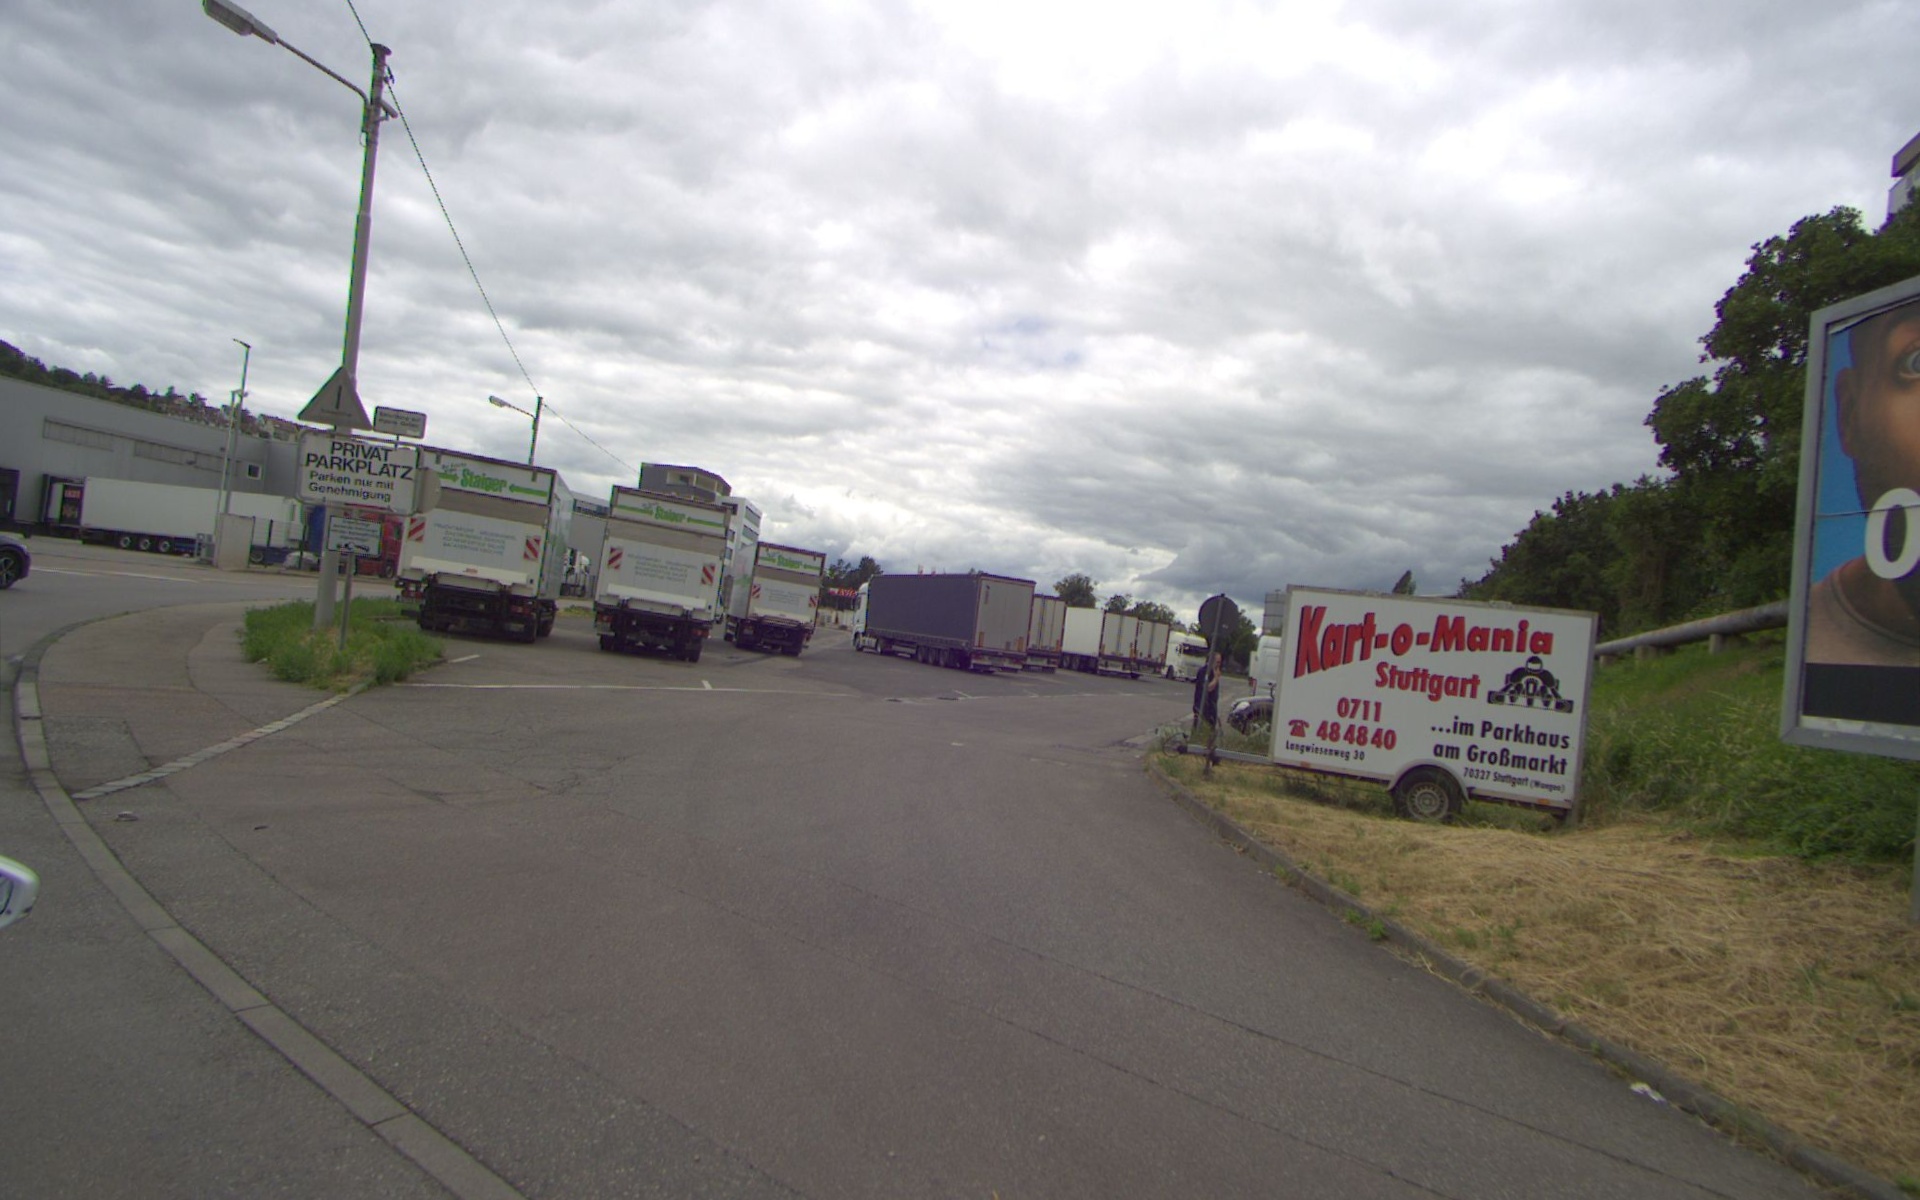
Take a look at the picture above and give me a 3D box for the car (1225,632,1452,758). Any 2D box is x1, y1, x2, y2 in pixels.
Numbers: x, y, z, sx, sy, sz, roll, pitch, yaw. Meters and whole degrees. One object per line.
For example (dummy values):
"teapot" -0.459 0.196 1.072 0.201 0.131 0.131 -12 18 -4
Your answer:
"car" 11.068 2.732 29.634 5.793 2.810 2.025 6 -2 24

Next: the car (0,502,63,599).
"car" -18.527 -1.154 17.394 1.965 1.701 4.376 9 -4 -2

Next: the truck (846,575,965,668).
"truck" -2.968 1.000 51.451 3.034 4.047 7.997 8 -2 -23

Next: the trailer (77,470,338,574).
"trailer" -45.103 -4.654 60.477 13.753 4.232 3.040 8 -1 6

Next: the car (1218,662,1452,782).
"car" 8.365 2.671 22.685 4.568 1.903 2.002 7 -2 22

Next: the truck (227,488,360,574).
"truck" -39.199 -3.979 59.412 5.534 4.067 2.922 8 -2 -18

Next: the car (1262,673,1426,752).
"car" 10.440 3.027 27.436 3.928 1.525 1.870 6 -2 24

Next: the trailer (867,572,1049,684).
"trailer" -0.588 0.982 45.991 3.024 4.024 13.031 7 -1 -23

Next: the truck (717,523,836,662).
"truck" -7.687 -0.228 40.805 3.028 4.589 9.754 8 -2 -17

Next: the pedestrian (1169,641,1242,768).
"pedestrian" 3.828 1.625 15.662 0.687 1.841 0.696 6 -2 36

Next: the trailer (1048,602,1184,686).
"trailer" 10.637 2.878 71.050 3.161 4.715 13.046 7 -1 -20

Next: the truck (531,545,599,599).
"truck" -34.927 -2.413 89.353 3.079 4.166 6.946 4 -2 0

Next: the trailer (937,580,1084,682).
"trailer" 2.435 1.464 56.876 3.021 4.715 13.046 7 -1 -20

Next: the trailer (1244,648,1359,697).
"trailer" 37.618 7.931 111.033 11.745 4.452 1.969 3 -3 23

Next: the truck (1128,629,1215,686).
"truck" 18.018 4.854 86.416 3.031 4.047 8.004 8 -2 -20

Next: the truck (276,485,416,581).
"truck" -32.448 -3.398 53.564 2.878 4.066 6.944 7 -2 -2

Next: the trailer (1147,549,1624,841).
"trailer" 4.576 0.946 11.315 4.335 2.425 1.811 7 -2 23

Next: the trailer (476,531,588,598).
"trailer" -34.859 -2.708 82.809 3.084 4.311 14.028 4 -2 -1

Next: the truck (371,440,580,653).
"truck" -10.874 -0.995 23.563 3.030 3.672 8.573 8 -2 -19

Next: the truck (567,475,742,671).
"truck" -7.701 -0.513 25.629 3.029 3.669 8.580 10 -3 -16

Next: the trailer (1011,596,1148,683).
"trailer" 7.648 2.398 67.546 3.161 4.715 13.046 7 -1 -20
